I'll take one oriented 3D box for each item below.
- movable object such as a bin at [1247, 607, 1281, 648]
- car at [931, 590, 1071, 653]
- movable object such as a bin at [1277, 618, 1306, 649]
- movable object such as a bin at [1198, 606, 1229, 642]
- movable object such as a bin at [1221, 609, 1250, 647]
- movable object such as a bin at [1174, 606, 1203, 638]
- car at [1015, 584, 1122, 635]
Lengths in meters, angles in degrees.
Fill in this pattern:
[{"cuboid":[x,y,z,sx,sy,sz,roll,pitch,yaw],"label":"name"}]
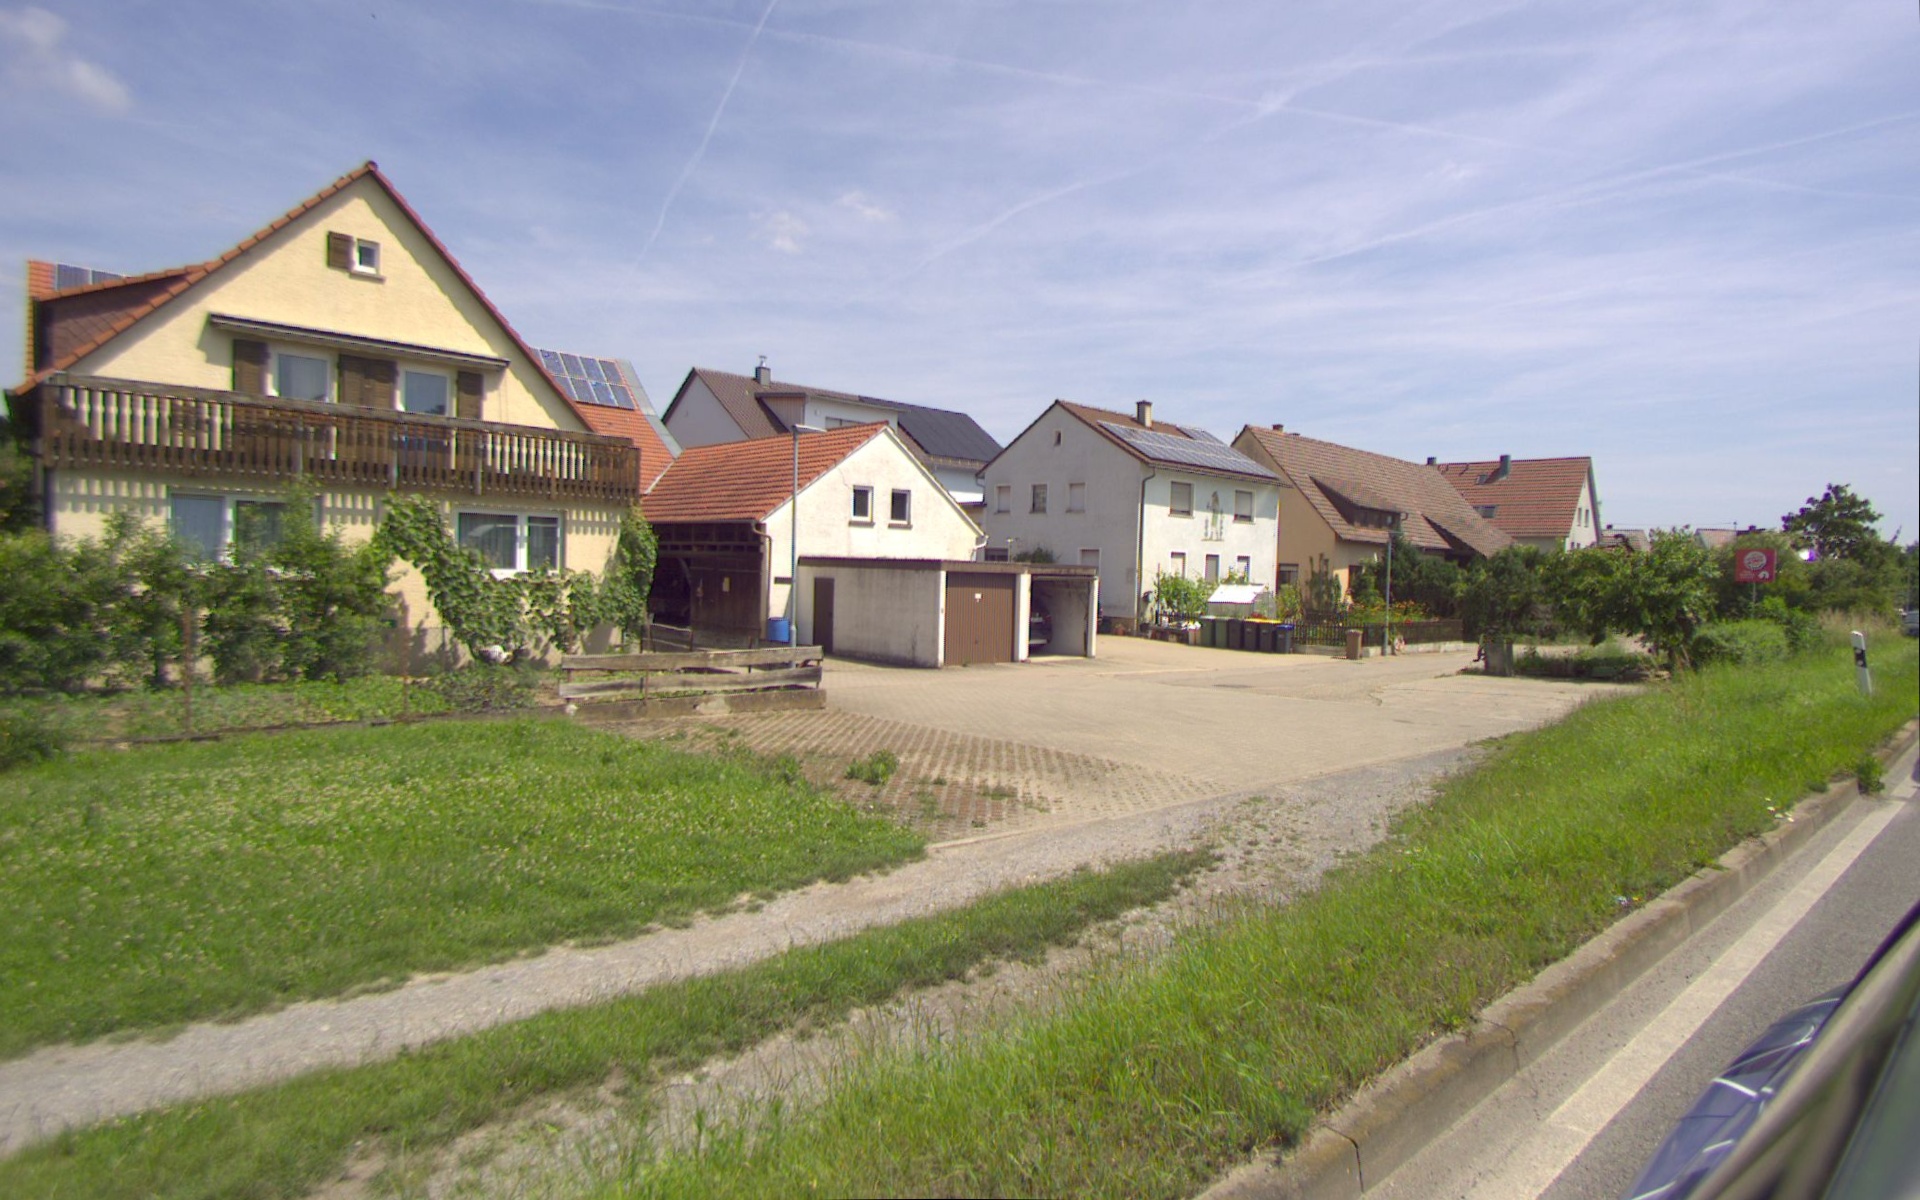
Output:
[{"cuboid":[10.515,0.934,34.998,0.930,1.387,0.764,1,-1,-42],"label":"movable object such as a bin"},{"cuboid":[1.106,0.556,28.947,1.794,1.624,3.995,1,1,-40],"label":"car"},{"cuboid":[11.228,1.130,34.290,0.743,1.040,0.645,1,-1,-42],"label":"movable object such as a bin"},{"cuboid":[9.260,0.864,36.900,0.874,1.262,0.744,1,-1,-42],"label":"movable object such as a bin"},{"cuboid":[9.870,0.988,36.216,0.806,1.355,0.677,1,-1,-42],"label":"movable object such as a bin"},{"cuboid":[8.454,0.810,37.462,0.816,1.171,0.739,1,-1,-42],"label":"movable object such as a bin"},{"cuboid":[4.222,0.306,39.709,1.796,1.755,3.995,0,3,-41],"label":"car"}]
